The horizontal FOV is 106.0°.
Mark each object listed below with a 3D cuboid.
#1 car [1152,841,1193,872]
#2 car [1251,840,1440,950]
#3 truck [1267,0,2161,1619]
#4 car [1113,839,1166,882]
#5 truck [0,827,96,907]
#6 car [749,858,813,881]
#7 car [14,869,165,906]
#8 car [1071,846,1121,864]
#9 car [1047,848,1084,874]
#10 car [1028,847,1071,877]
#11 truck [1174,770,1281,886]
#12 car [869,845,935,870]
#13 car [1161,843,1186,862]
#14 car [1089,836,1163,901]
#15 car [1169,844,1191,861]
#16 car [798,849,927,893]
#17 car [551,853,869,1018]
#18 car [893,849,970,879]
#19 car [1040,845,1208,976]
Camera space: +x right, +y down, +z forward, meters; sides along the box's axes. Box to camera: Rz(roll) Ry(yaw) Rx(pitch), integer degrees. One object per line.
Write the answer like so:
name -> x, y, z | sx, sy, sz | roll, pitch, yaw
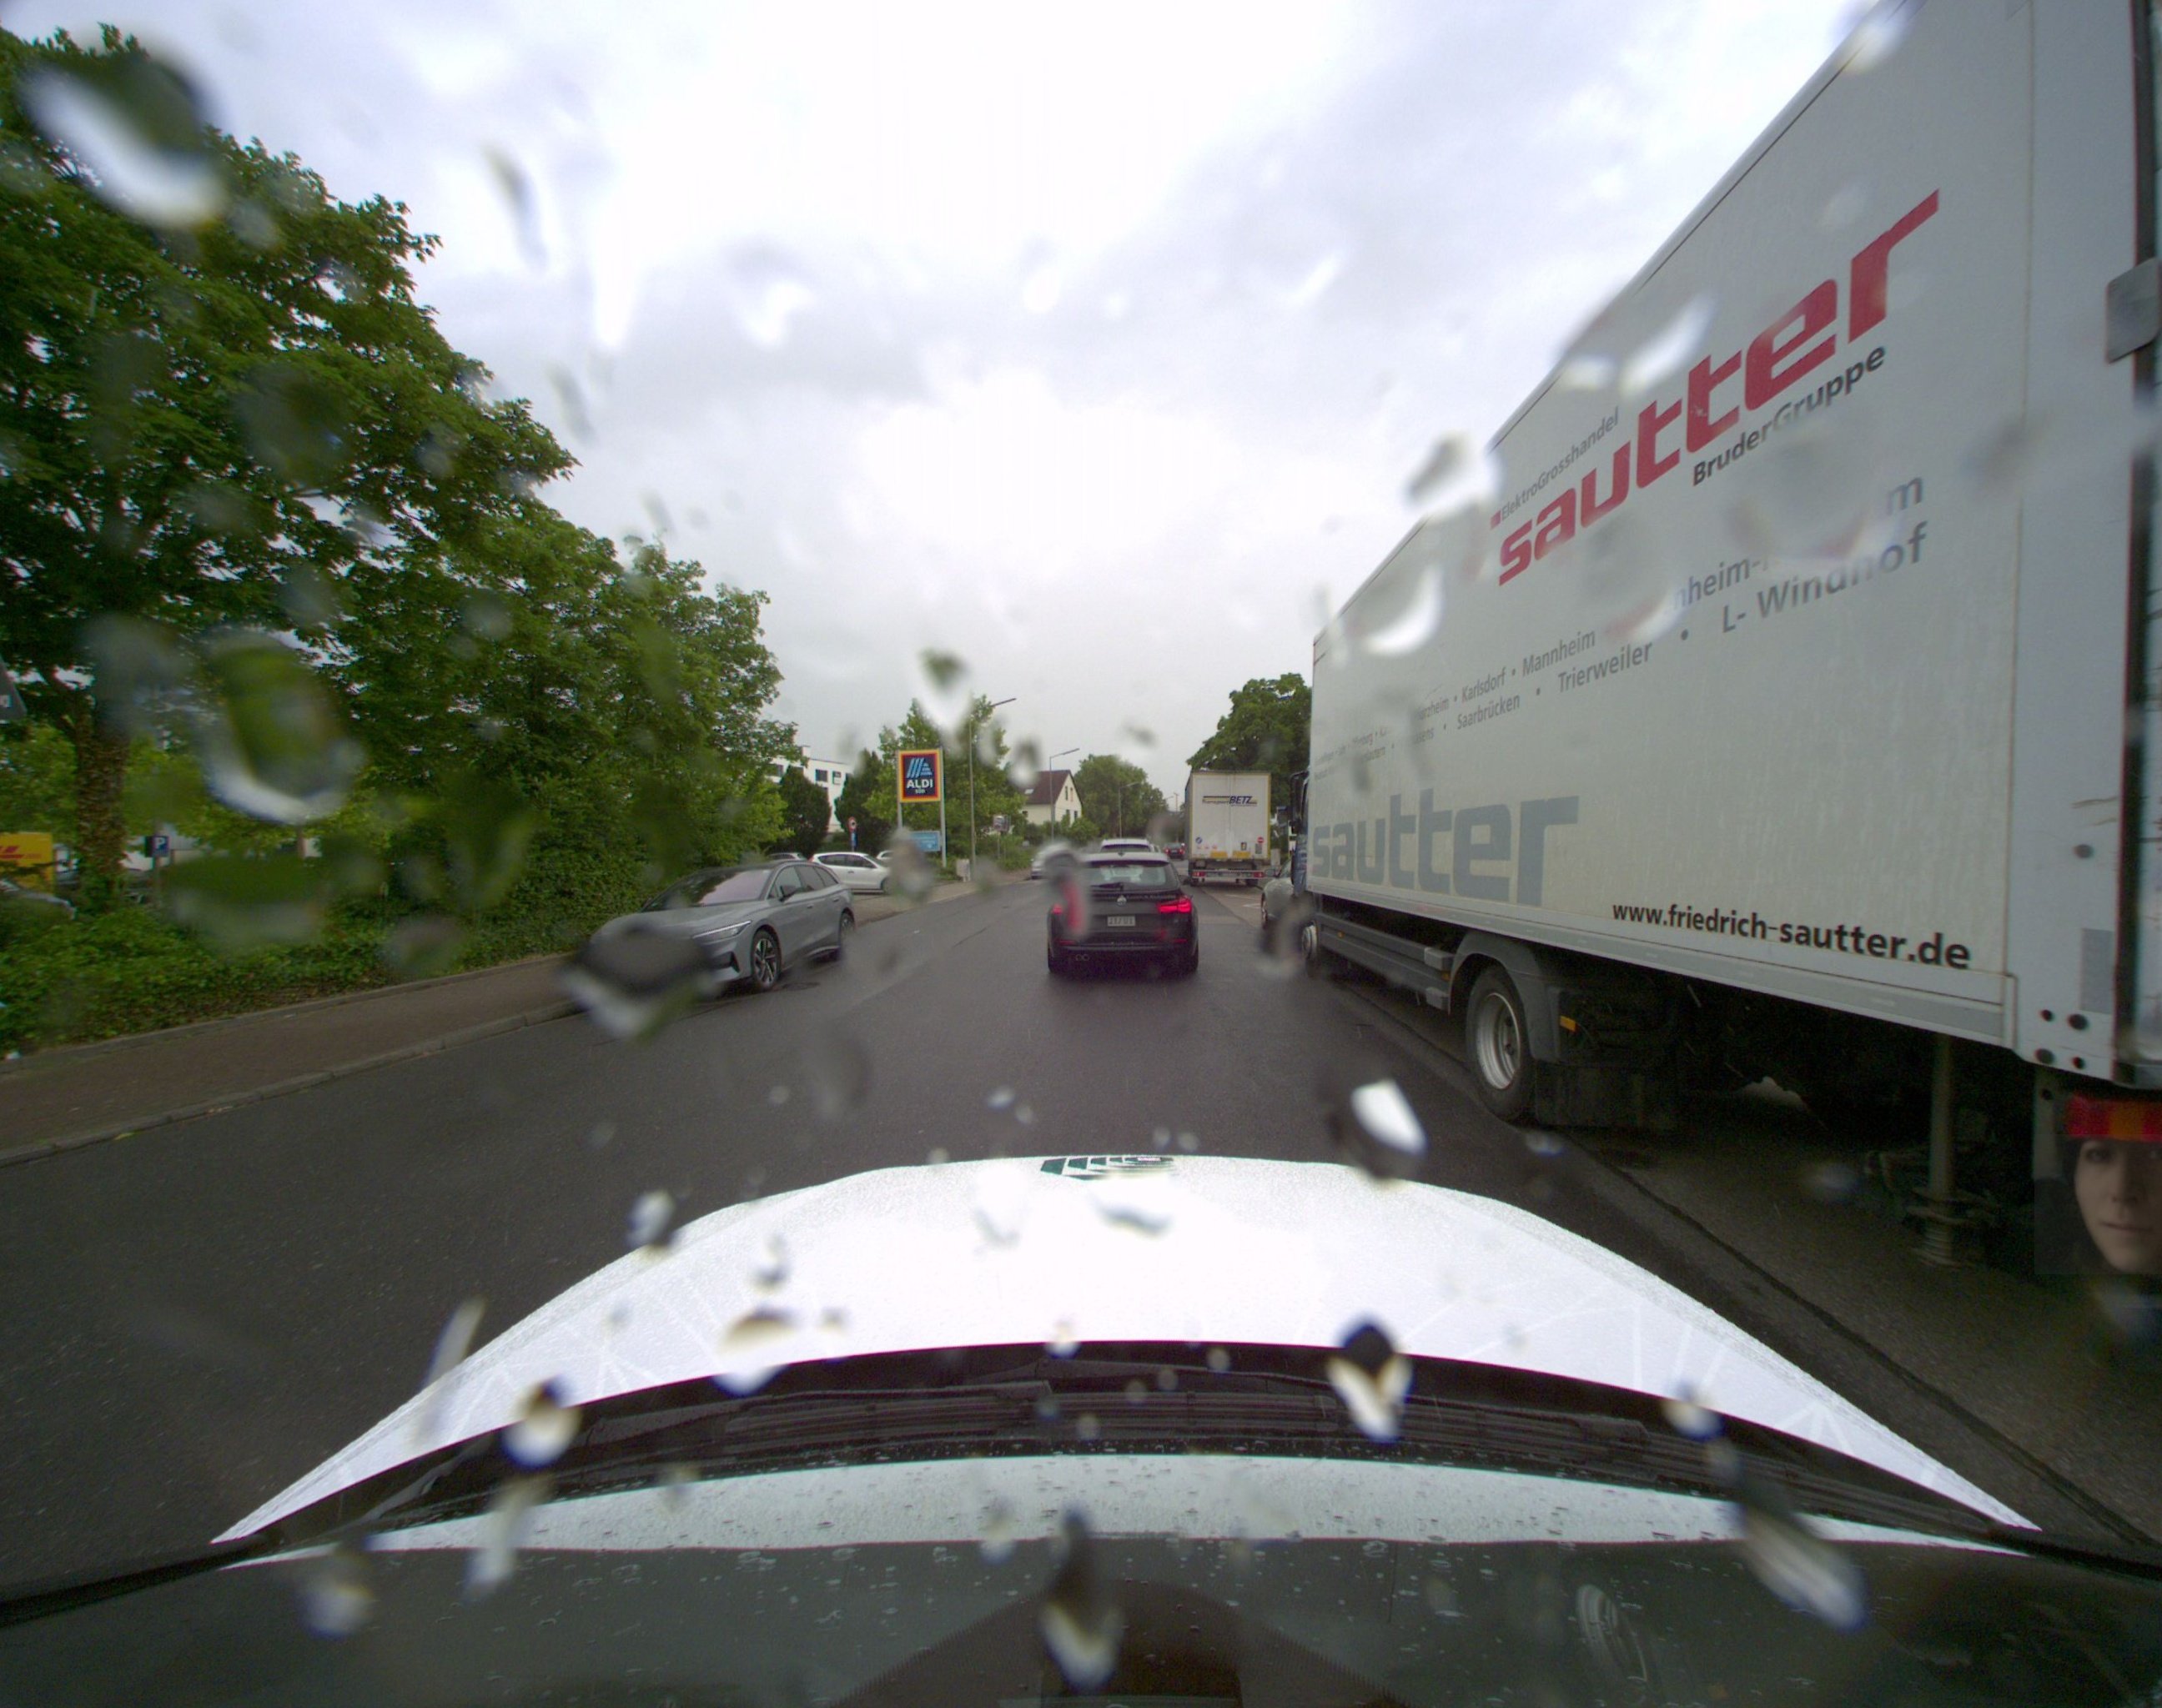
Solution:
car -> 5.225, 0.154, 47.008 | 1.986, 1.684, 4.002 | -1, 0, 2
car -> 4.049, 0.538, 13.264 | 1.790, 1.441, 4.347 | -2, 1, 2
truck -> 3.595, -0.532, 6.007 | 2.730, 3.789, 9.306 | 1, 1, 3
car -> 2.377, 0.244, 32.173 | 1.794, 1.586, 4.009 | -1, 0, 8
truck -> -36.495, 0.467, 25.998 | 1.984, 2.601, 6.404 | -2, 1, 4
car -> -22.403, 1.138, 60.860 | 3.969, 1.499, 2.003 | -2, 0, 4
car -> -40.824, 1.355, 33.606 | 3.972, 1.335, 1.857 | -2, 0, 1
car -> 1.282, 0.076, 68.421 | 4.169, 1.362, 1.590 | -1, 0, 3
car -> -0.888, 0.379, 49.854 | 1.697, 1.367, 3.845 | -4, 1, 6
car -> -1.615, 0.378, 43.900 | 1.698, 1.367, 4.607 | -4, 1, 4
truck -> 5.034, -0.852, 29.367 | 2.730, 3.610, 7.755 | 1, 1, 2
car -> -12.246, 0.225, 55.834 | 3.970, 1.540, 1.912 | -1, 0, 3
car -> 8.269, -0.127, 72.476 | 1.792, 1.586, 4.013 | -1, 0, 11
car -> 1.144, 0.353, 22.143 | 1.798, 1.586, 4.000 | -1, 0, 1
car -> 9.650, -0.140, 79.033 | 1.792, 1.586, 4.013 | -1, 0, 11
car -> -7.826, 0.590, 29.485 | 4.177, 1.459, 1.712 | -1, 0, -1
car -> -4.471, 0.847, 10.834 | 1.802, 1.528, 4.750 | -5, 0, 2
car -> -7.676, 0.507, 41.874 | 3.554, 1.459, 1.714 | 0, 0, 4
car -> 0.490, 0.606, 10.812 | 1.798, 1.395, 4.000 | -1, 0, 1
